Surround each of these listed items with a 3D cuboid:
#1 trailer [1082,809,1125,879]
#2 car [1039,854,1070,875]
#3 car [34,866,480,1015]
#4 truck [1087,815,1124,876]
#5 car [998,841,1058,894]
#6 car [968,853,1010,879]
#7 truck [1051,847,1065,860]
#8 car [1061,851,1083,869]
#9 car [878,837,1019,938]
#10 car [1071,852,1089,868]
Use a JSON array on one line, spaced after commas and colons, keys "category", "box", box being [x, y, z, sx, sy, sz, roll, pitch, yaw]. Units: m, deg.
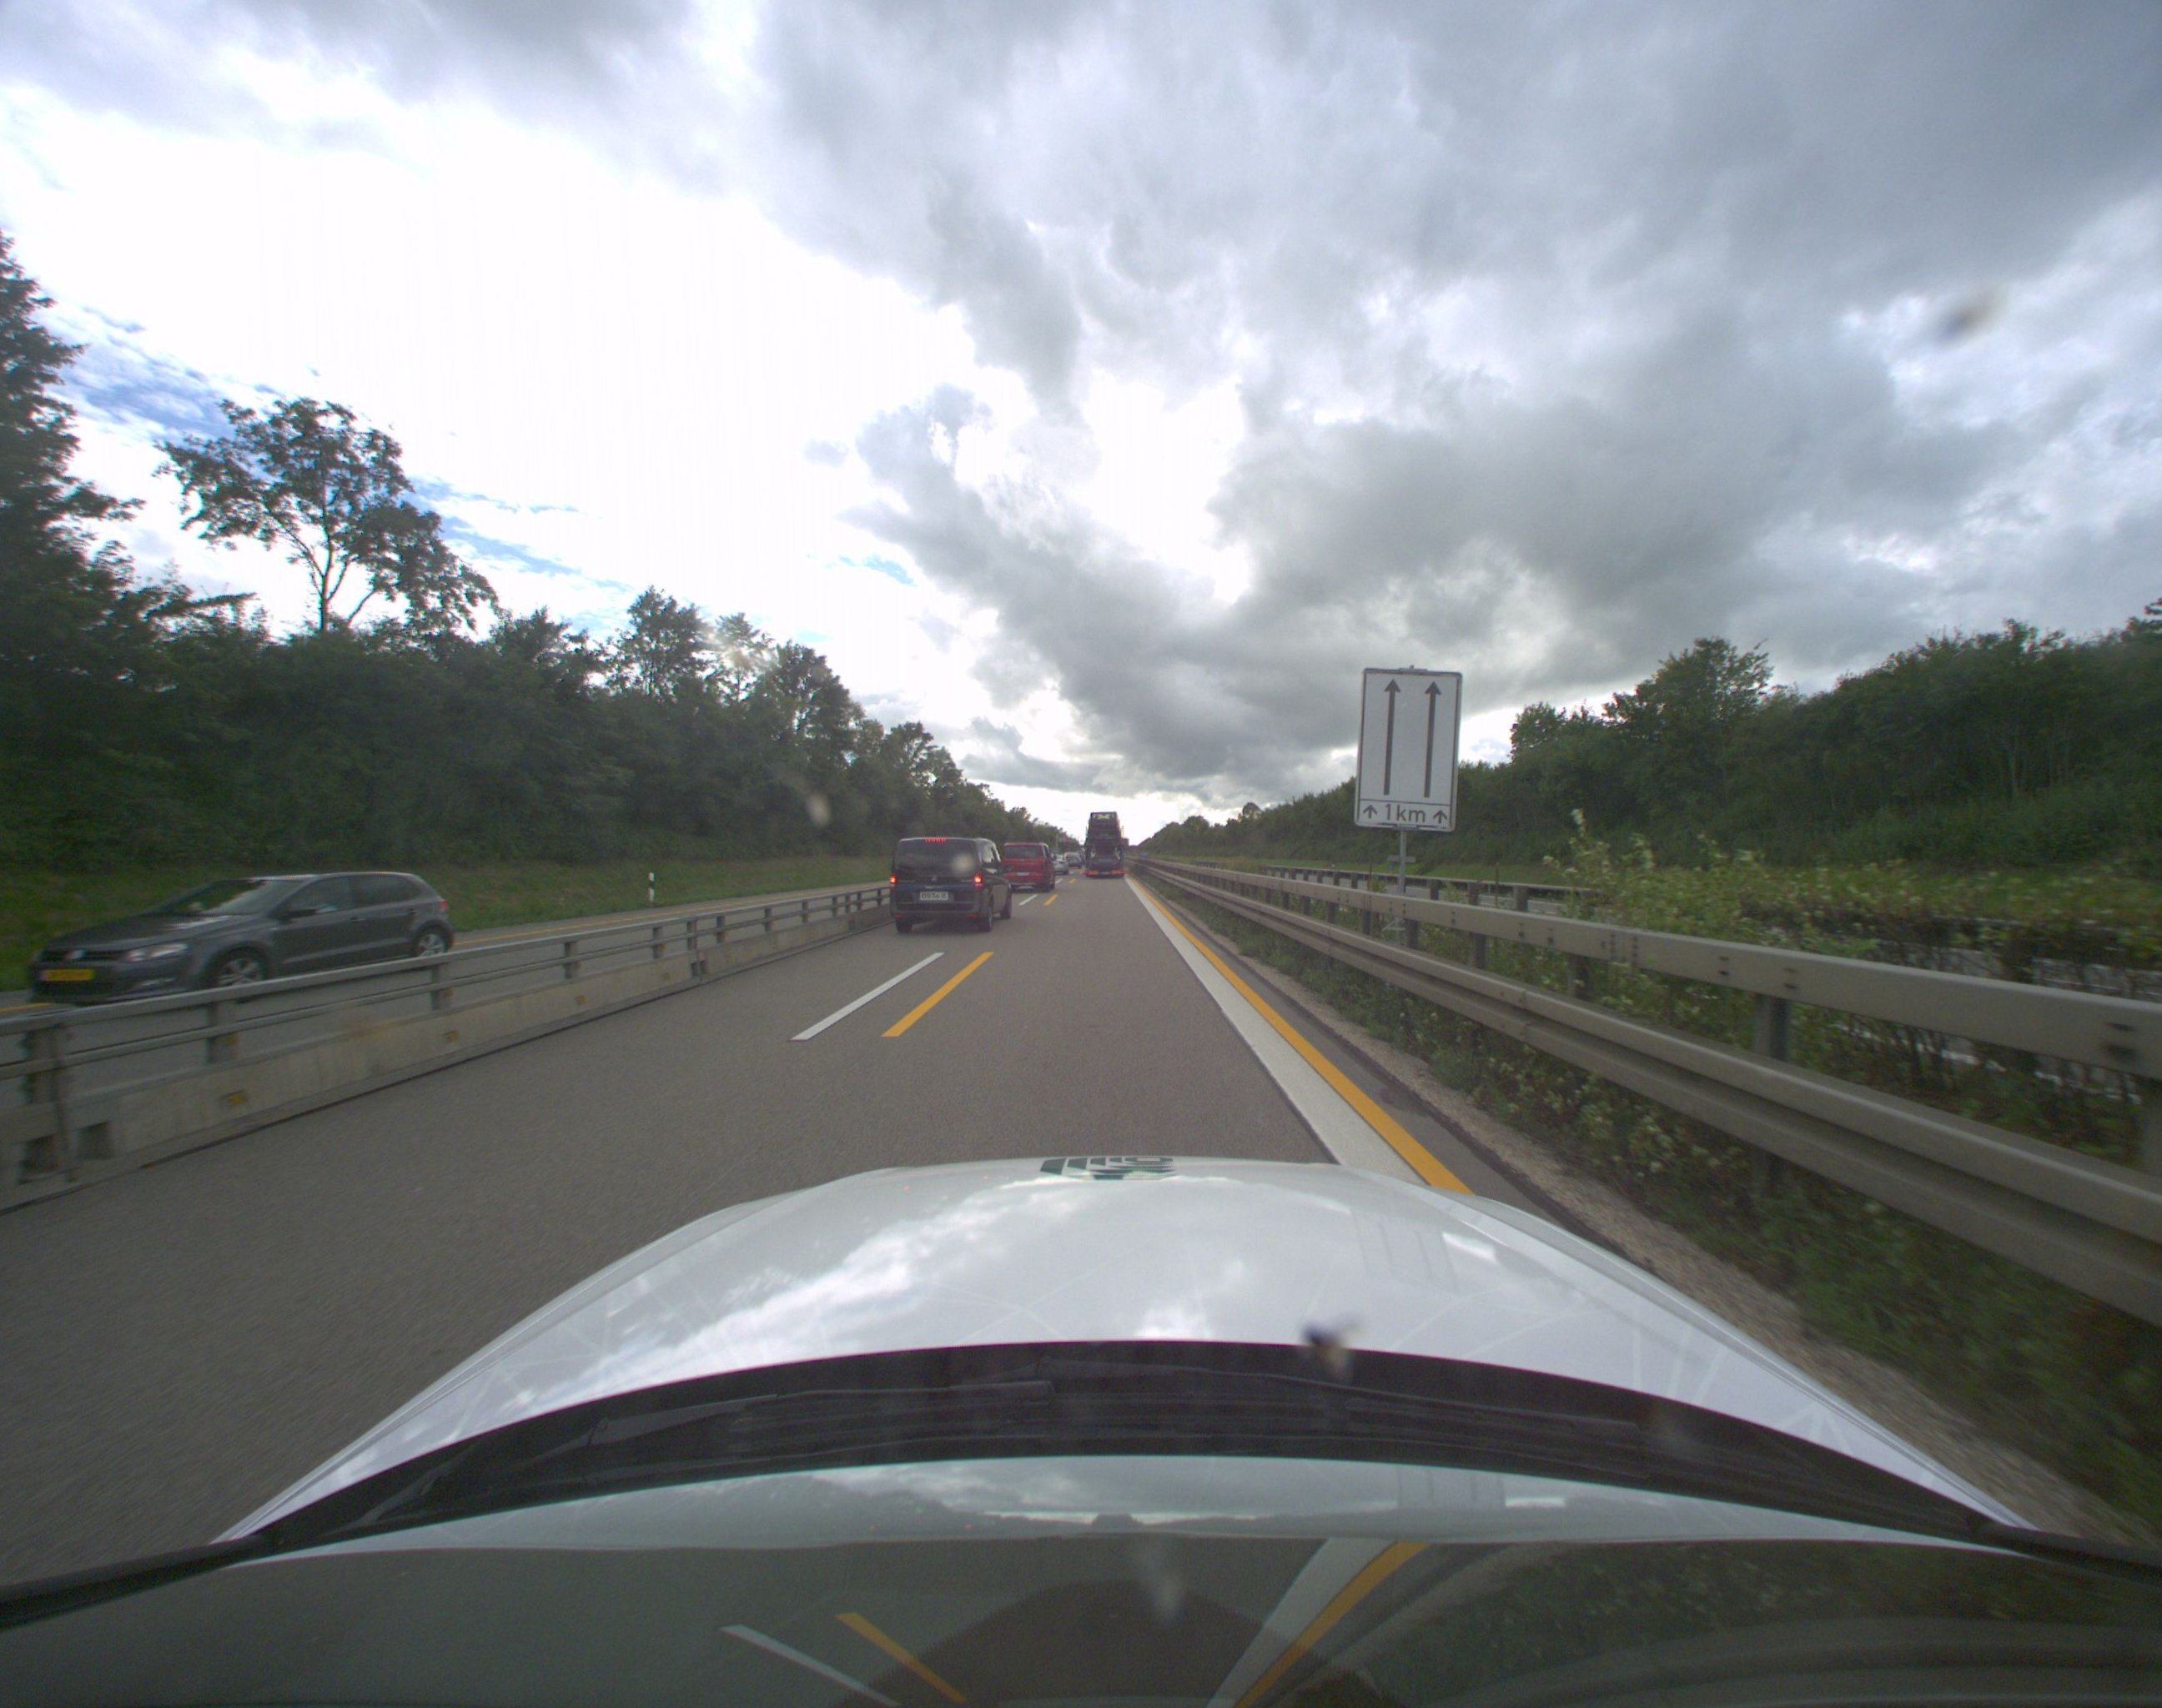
[{"category": "trailer", "box": [1.571, -0.586, 53.571, 2.505, 4.105, 11.119, 0, 0, 2]}, {"category": "car", "box": [-1.884, 0.724, 59.012, 2.024, 1.430, 4.578, -1, 0, 1]}, {"category": "car", "box": [-9.840, 0.915, 10.230, 1.662, 1.440, 3.789, -1, 0, 2]}, {"category": "truck", "box": [1.757, -0.578, 58.278, 2.506, 4.105, 5.688, 0, 0, 2]}, {"category": "car", "box": [-2.096, 0.515, 33.633, 2.023, 2.013, 4.579, -1, 0, 1]}, {"category": "car", "box": [-5.540, 0.699, 49.577, 1.992, 1.499, 4.900, -1, 0, 0]}, {"category": "truck", "box": [-4.928, -0.062, 176.588, 2.480, 2.718, 6.670, 0, 0, 2]}, {"category": "car", "box": [-0.824, 0.583, 80.302, 2.024, 1.757, 4.578, -1, 0, 1]}, {"category": "car", "box": [-2.686, 0.620, 17.978, 1.986, 1.843, 5.611, -1, 0, 2]}, {"category": "car", "box": [-0.068, 0.637, 93.476, 2.024, 1.757, 4.578, -1, 0, 1]}]
